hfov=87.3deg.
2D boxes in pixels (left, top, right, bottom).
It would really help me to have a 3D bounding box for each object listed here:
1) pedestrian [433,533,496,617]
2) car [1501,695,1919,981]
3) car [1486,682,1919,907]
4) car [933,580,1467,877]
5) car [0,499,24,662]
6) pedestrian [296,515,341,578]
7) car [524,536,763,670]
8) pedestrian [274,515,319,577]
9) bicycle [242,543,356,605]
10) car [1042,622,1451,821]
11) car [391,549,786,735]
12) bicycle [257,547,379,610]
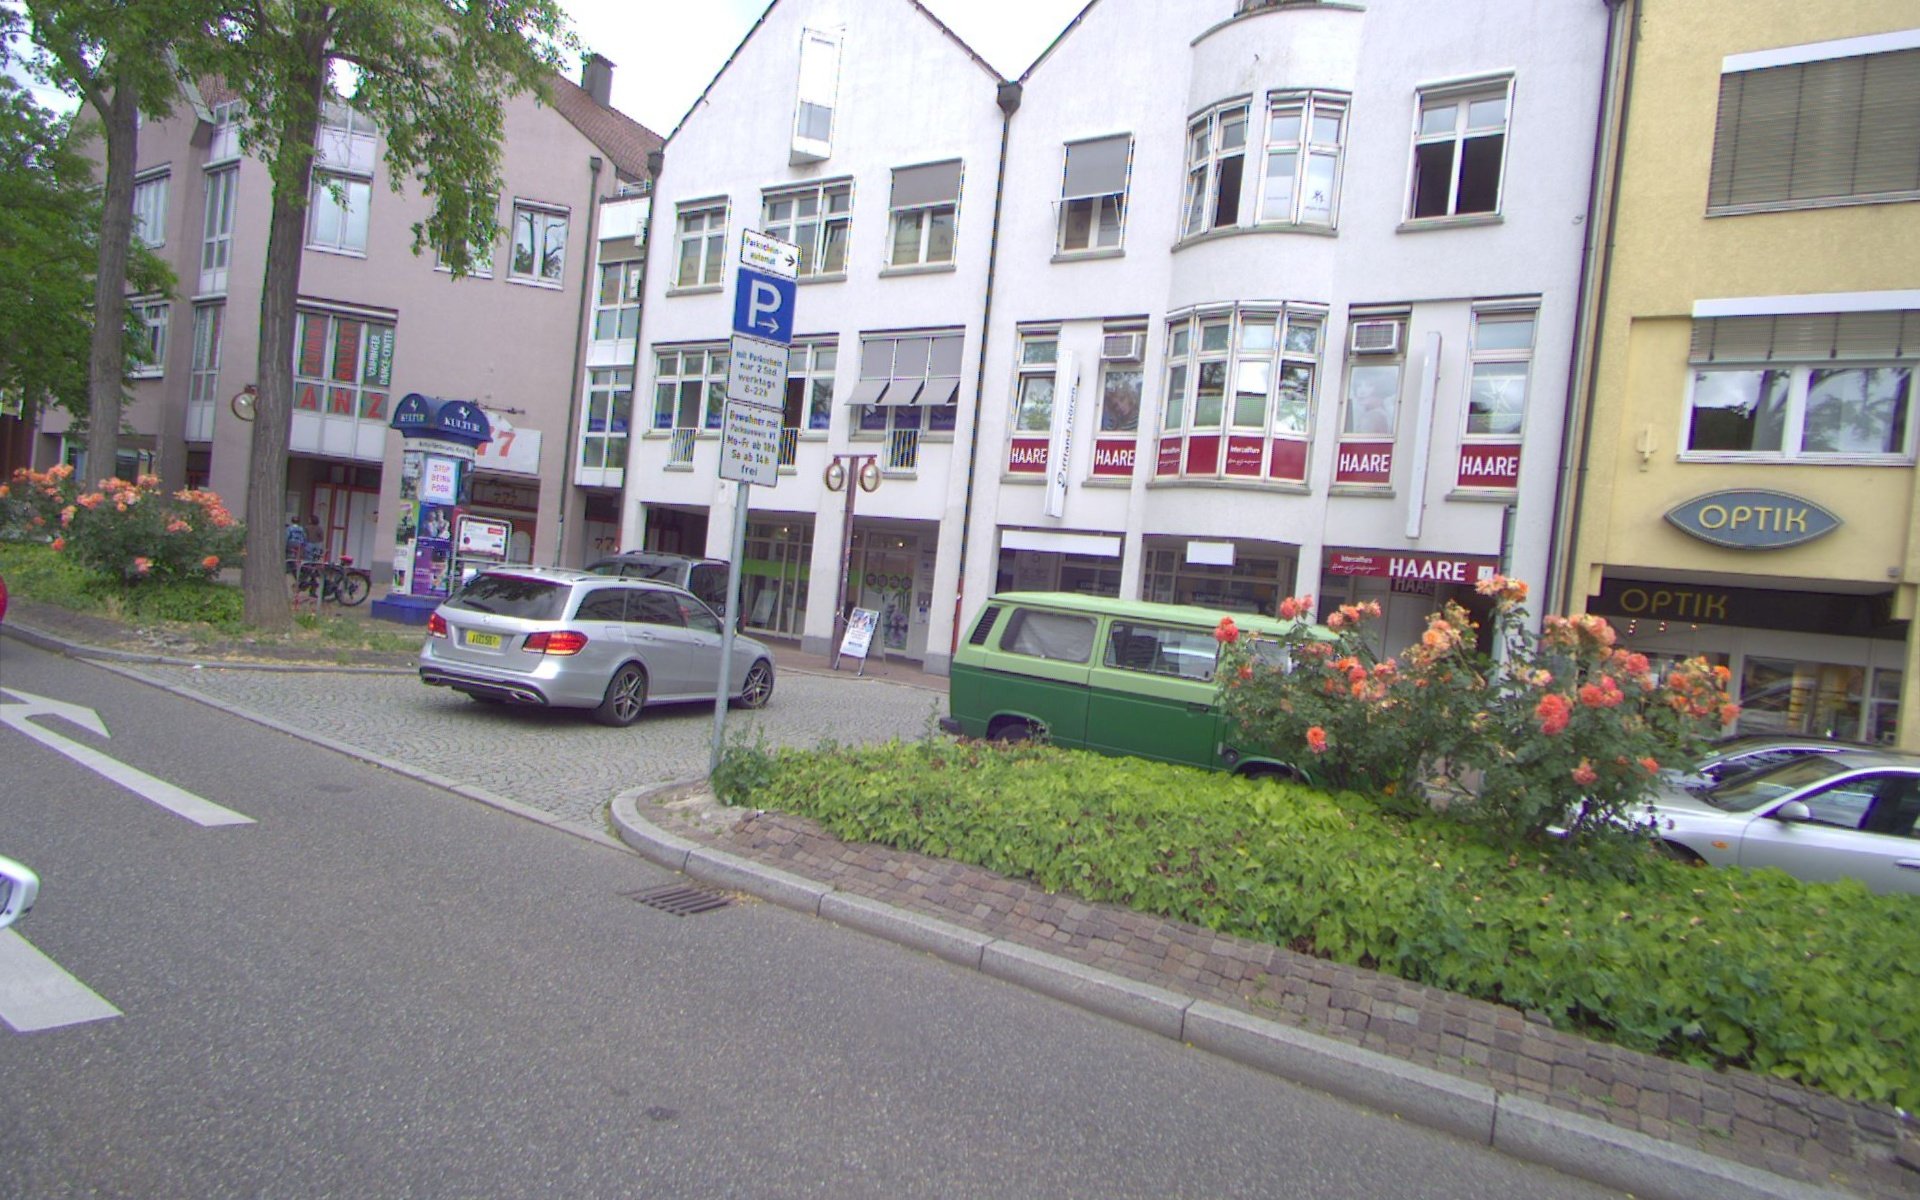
[{"bbox_3d":[-10.642,-0.530,21.616,0.805,1.681,0.789,7,3,31],"label":"pedestrian"},{"bbox_3d":[6.520,1.769,7.375,4.344,1.468,1.765,7,0,30],"label":"car"},{"bbox_3d":[7.710,1.835,9.876,4.344,1.394,1.999,7,1,30],"label":"car"},{"bbox_3d":[2.232,1.020,9.737,4.527,1.900,1.882,7,1,30],"label":"car"},{"bbox_3d":[-10.384,-0.414,9.311,3.293,1.459,1.590,7,-2,32],"label":"car"},{"bbox_3d":[-17.492,-1.445,27.433,0.610,1.582,0.665,7,0,10],"label":"pedestrian"},{"bbox_3d":[-5.648,0.036,17.879,3.898,1.855,1.640,7,1,27],"label":"car"},{"bbox_3d":[-17.594,-1.428,26.687,0.610,1.534,0.612,7,0,10],"label":"pedestrian"},{"bbox_3d":[-12.995,-0.500,19.819,0.440,1.009,1.769,7,0,35],"label":"bicycle"},{"bbox_3d":[3.391,1.308,12.134,4.319,1.562,1.798,7,1,30],"label":"car"},{"bbox_3d":[-3.834,0.492,11.353,1.786,1.465,4.372,8,-1,16],"label":"car"},{"bbox_3d":[-12.488,-0.401,19.617,0.460,1.009,1.902,7,0,35],"label":"bicycle"}]
